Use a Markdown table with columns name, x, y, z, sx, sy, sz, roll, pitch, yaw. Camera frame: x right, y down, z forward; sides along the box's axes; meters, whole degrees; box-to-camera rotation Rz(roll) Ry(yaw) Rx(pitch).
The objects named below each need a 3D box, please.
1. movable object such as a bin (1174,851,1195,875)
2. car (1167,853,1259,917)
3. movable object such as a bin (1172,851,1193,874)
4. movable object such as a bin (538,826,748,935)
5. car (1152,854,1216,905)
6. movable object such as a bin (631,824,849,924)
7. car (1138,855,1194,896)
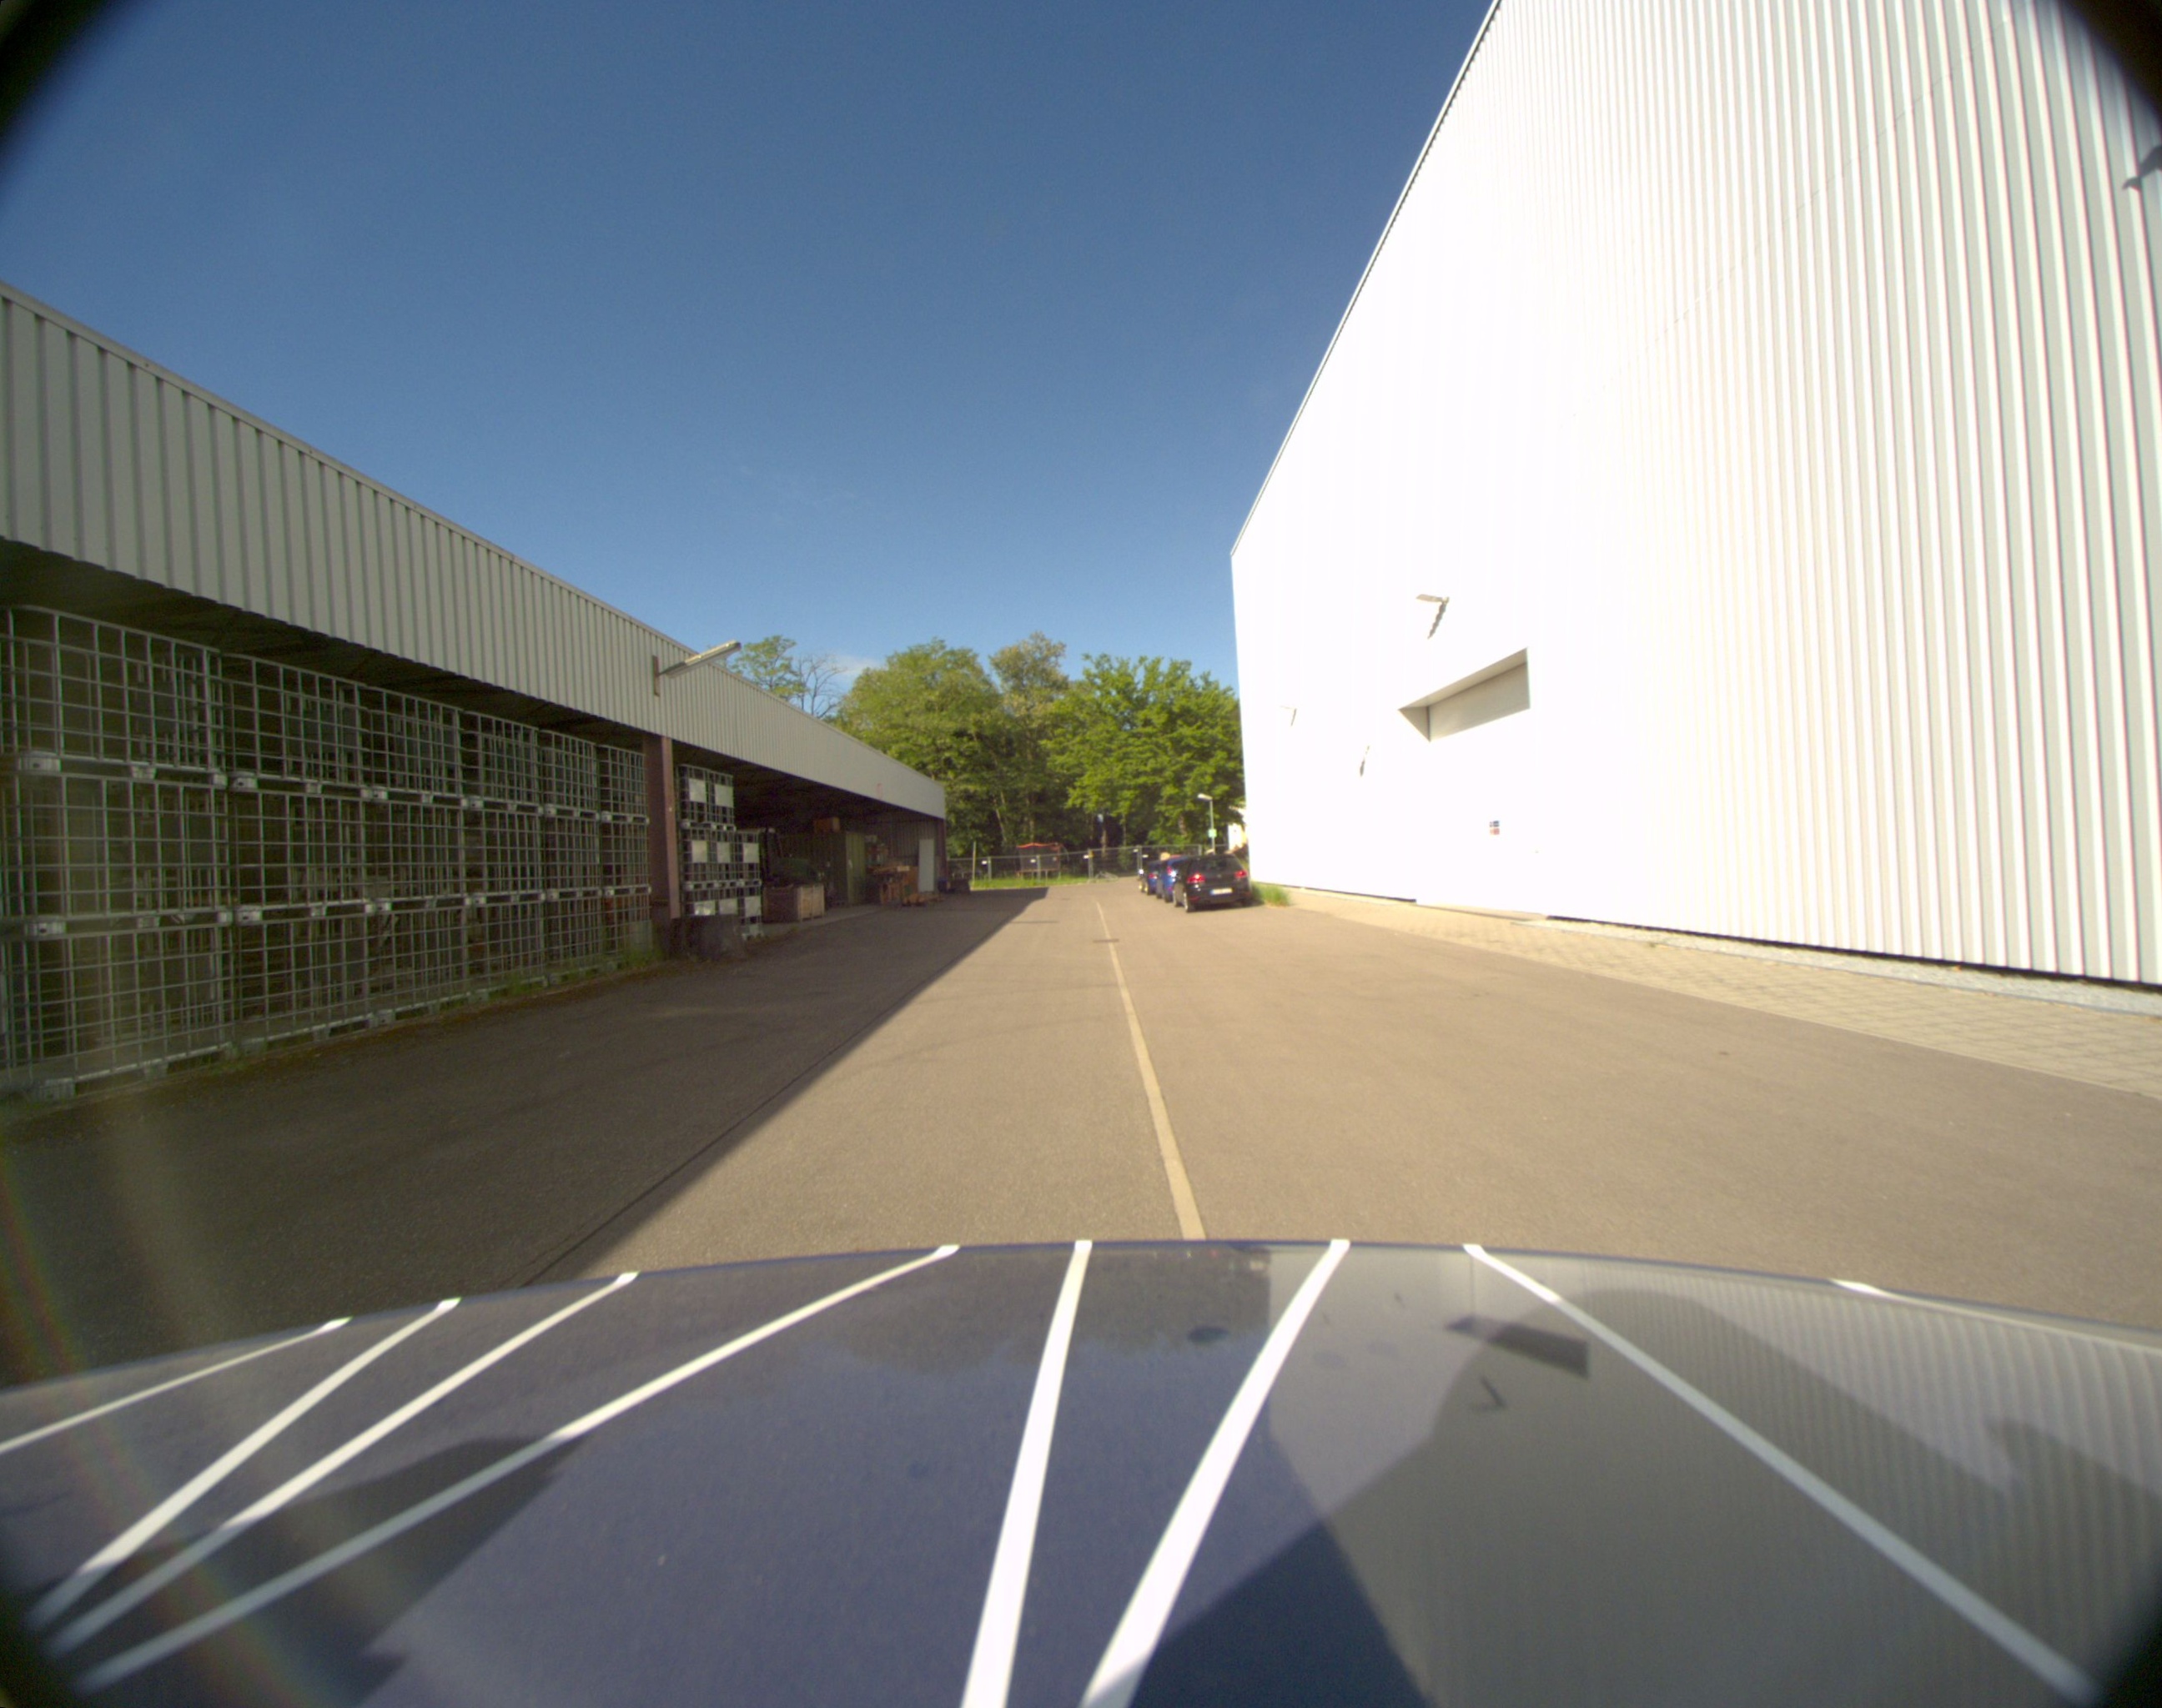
| name | x | y | z | sx | sy | sz | roll | pitch | yaw |
| --- | --- | --- | --- | --- | --- | --- | --- | --- | --- |
| movable object such as a bin | 6.436 | 0.546 | 47.192 | 1.141 | 1.426 | 1.289 | -2 | 0 | 1 |
| car | 3.545 | 0.802 | 21.205 | 1.760 | 1.437 | 4.315 | -6 | -1 | 1 |
| movable object such as a bin | 6.463 | 0.554 | 48.555 | 1.141 | 1.469 | 1.280 | -2 | -1 | 1 |
| movable object such as a bin | -12.542 | 0.734 | 22.049 | 4.537 | 2.814 | 2.497 | -2 | 0 | 1 |
| car | 3.445 | 0.829 | 25.951 | 1.552 | 1.479 | 3.522 | -5 | -1 | -1 |
| movable object such as a bin | -11.168 | 0.644 | 25.313 | 5.848 | 2.908 | 2.820 | -2 | 0 | 1 |
| car | 3.432 | 0.859 | 31.462 | 1.716 | 1.440 | 3.798 | -5 | -1 | -1 |
